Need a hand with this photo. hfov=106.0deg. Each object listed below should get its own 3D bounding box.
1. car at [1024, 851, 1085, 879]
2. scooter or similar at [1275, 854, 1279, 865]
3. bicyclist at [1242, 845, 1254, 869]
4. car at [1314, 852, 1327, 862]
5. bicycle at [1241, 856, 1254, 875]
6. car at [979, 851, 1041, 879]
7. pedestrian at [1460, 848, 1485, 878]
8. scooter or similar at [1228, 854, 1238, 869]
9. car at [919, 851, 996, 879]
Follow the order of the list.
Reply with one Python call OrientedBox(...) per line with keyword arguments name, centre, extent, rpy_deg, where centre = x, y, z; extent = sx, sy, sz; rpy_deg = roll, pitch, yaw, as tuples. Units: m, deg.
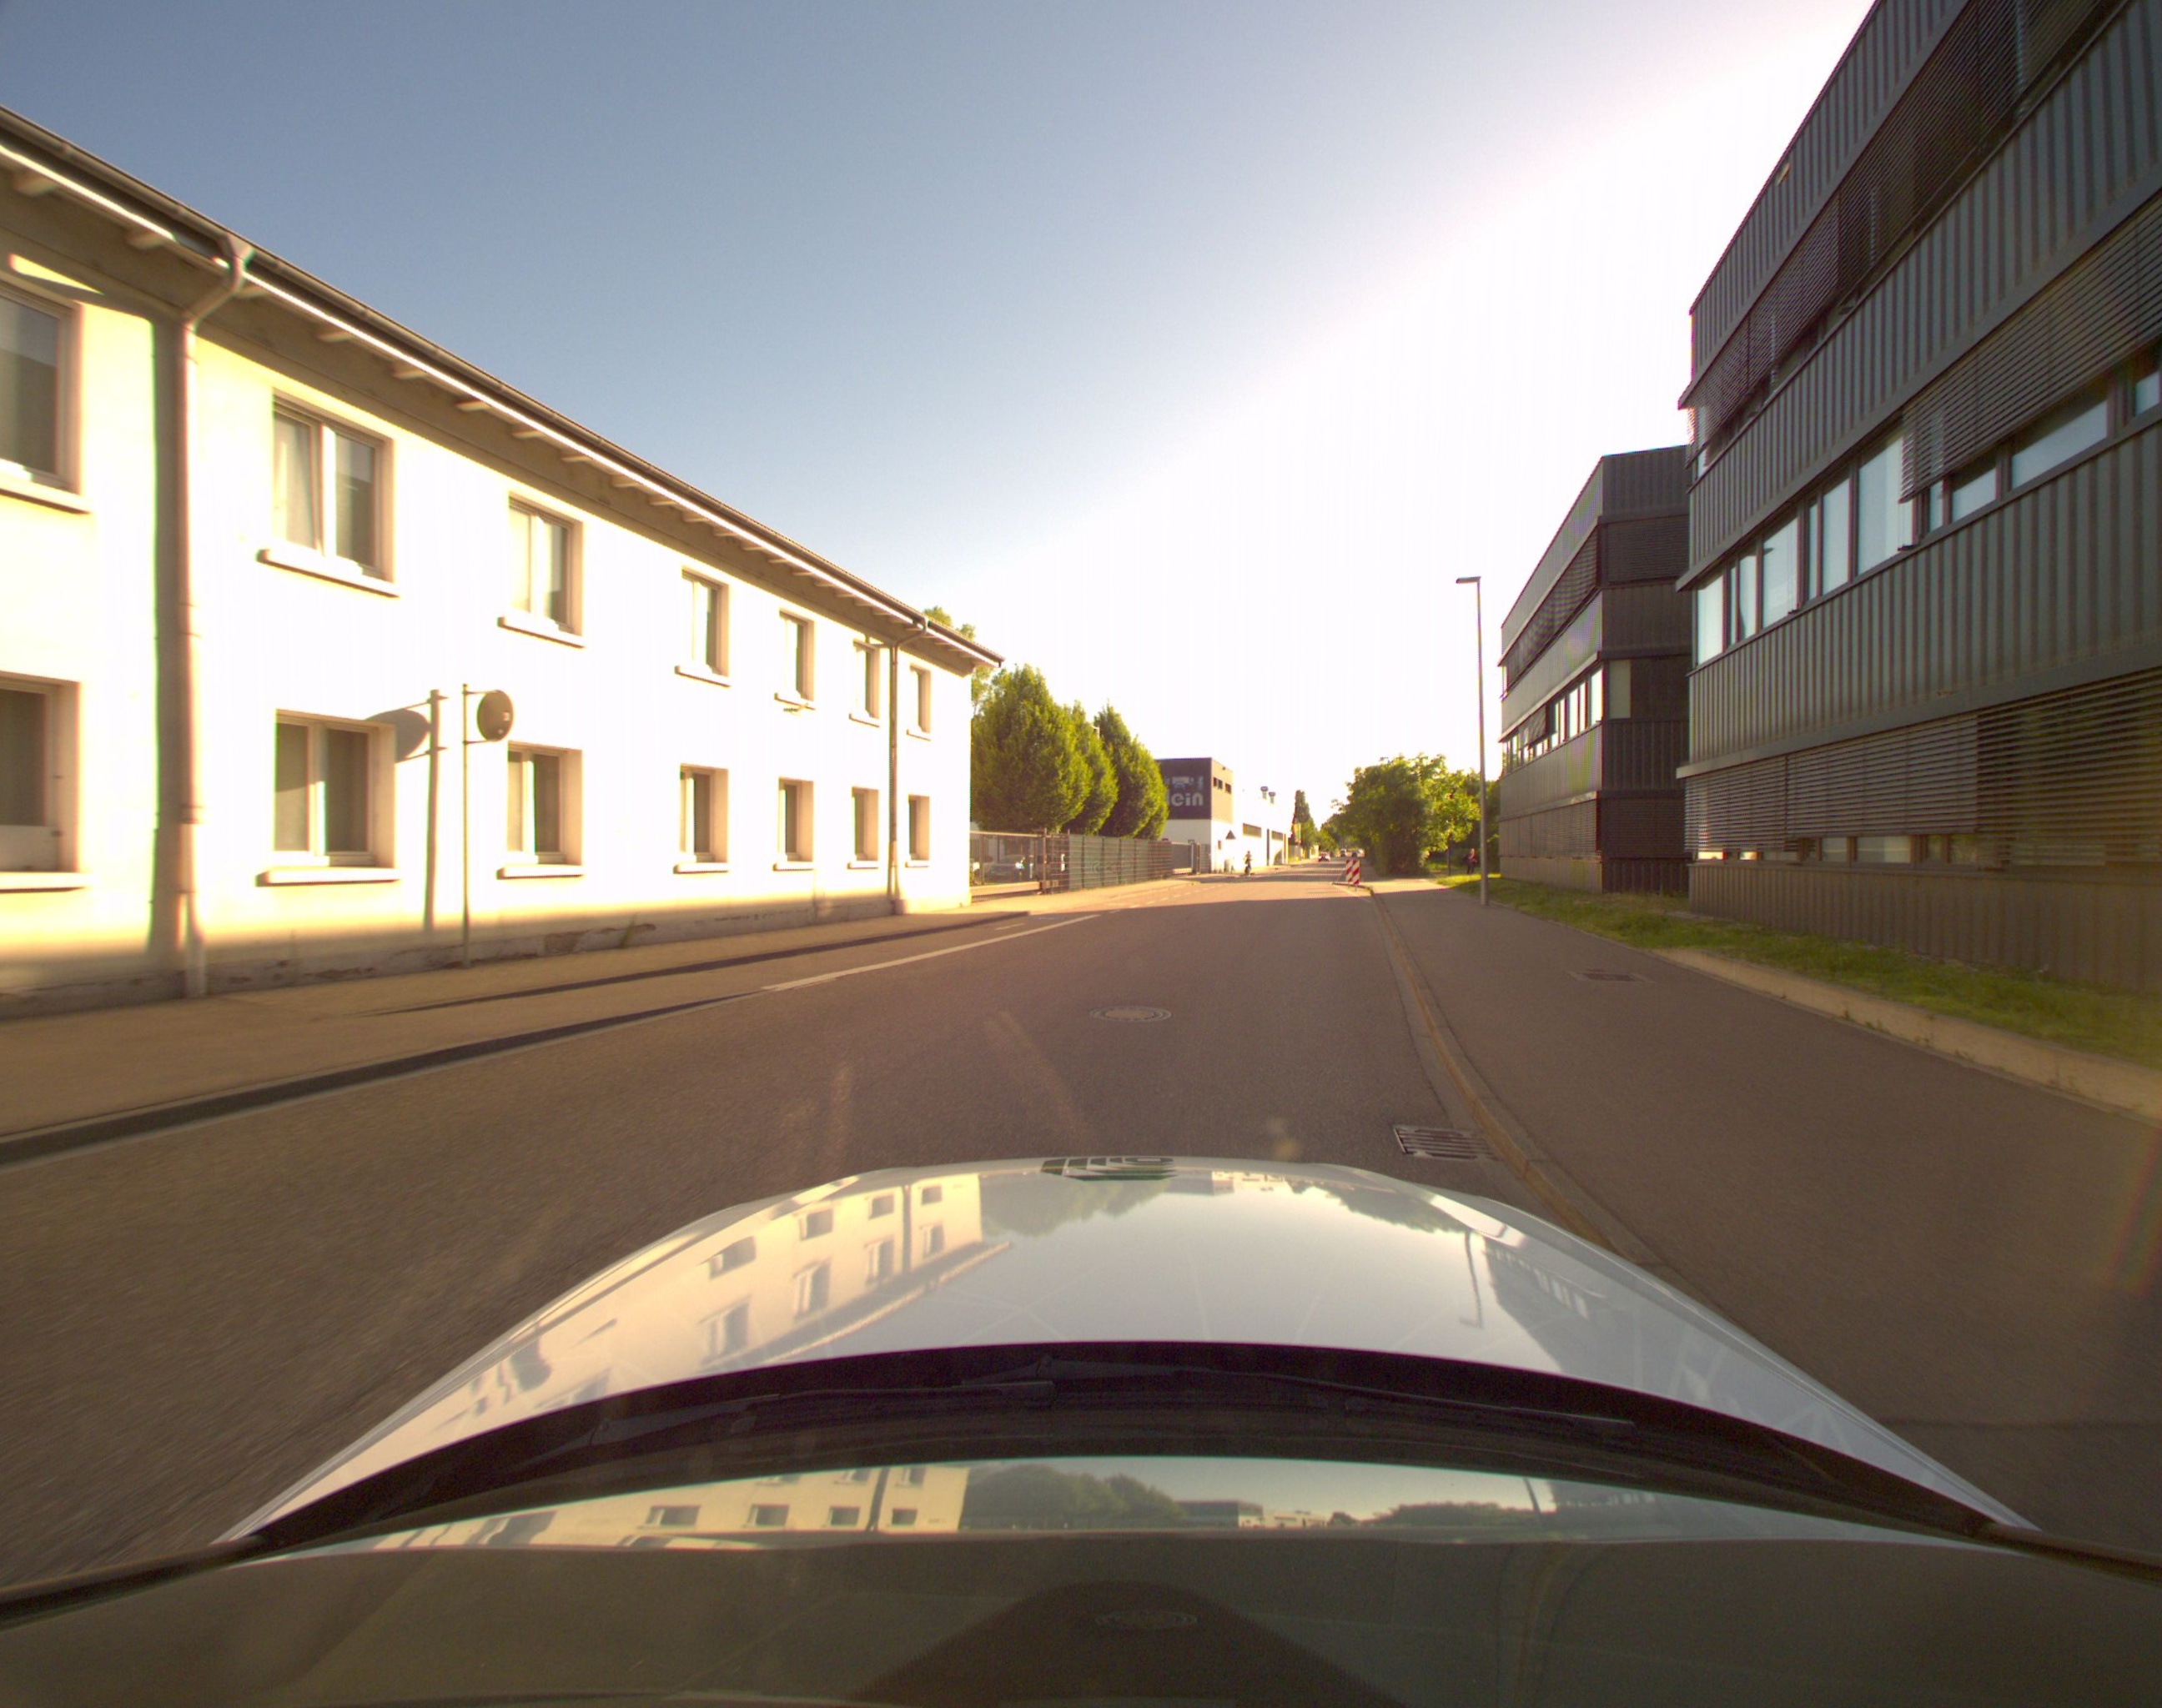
OrientedBox(name="car", centre=(-1.395, 0.588, 44.710), extent=(1.977, 1.451, 4.020), rpy_deg=(0, 0, 19))
OrientedBox(name="scooter or similar", centre=(23.624, 0.645, 98.010), extent=(0.412, 1.267, 1.064), rpy_deg=(0, 0, 19))
OrientedBox(name="bicyclist", centre=(11.326, 0.220, 55.253), extent=(0.740, 1.628, 0.837), rpy_deg=(0, 0, 17))
OrientedBox(name="car", centre=(39.921, 0.524, 135.733), extent=(1.803, 1.489, 4.018), rpy_deg=(-4, -1, 17))
OrientedBox(name="bicycle", centre=(11.316, 0.771, 55.254), extent=(0.662, 1.288, 2.182), rpy_deg=(0, 0, 17))
OrientedBox(name="car", centre=(-3.902, 0.595, 45.435), extent=(1.977, 1.451, 4.020), rpy_deg=(0, 0, 19))
OrientedBox(name="pedestrian", centre=(24.020, 0.548, 49.961), extent=(1.144, 1.792, 0.900), rpy_deg=(-3, -1, 15))
OrientedBox(name="scooter or similar", centre=(12.193, 0.581, 65.292), extent=(0.503, 1.203, 1.762), rpy_deg=(3, 1, 19))
OrientedBox(name="car", centre=(-7.151, 0.658, 47.098), extent=(3.954, 1.540, 1.884), rpy_deg=(-1, 0, 19))
